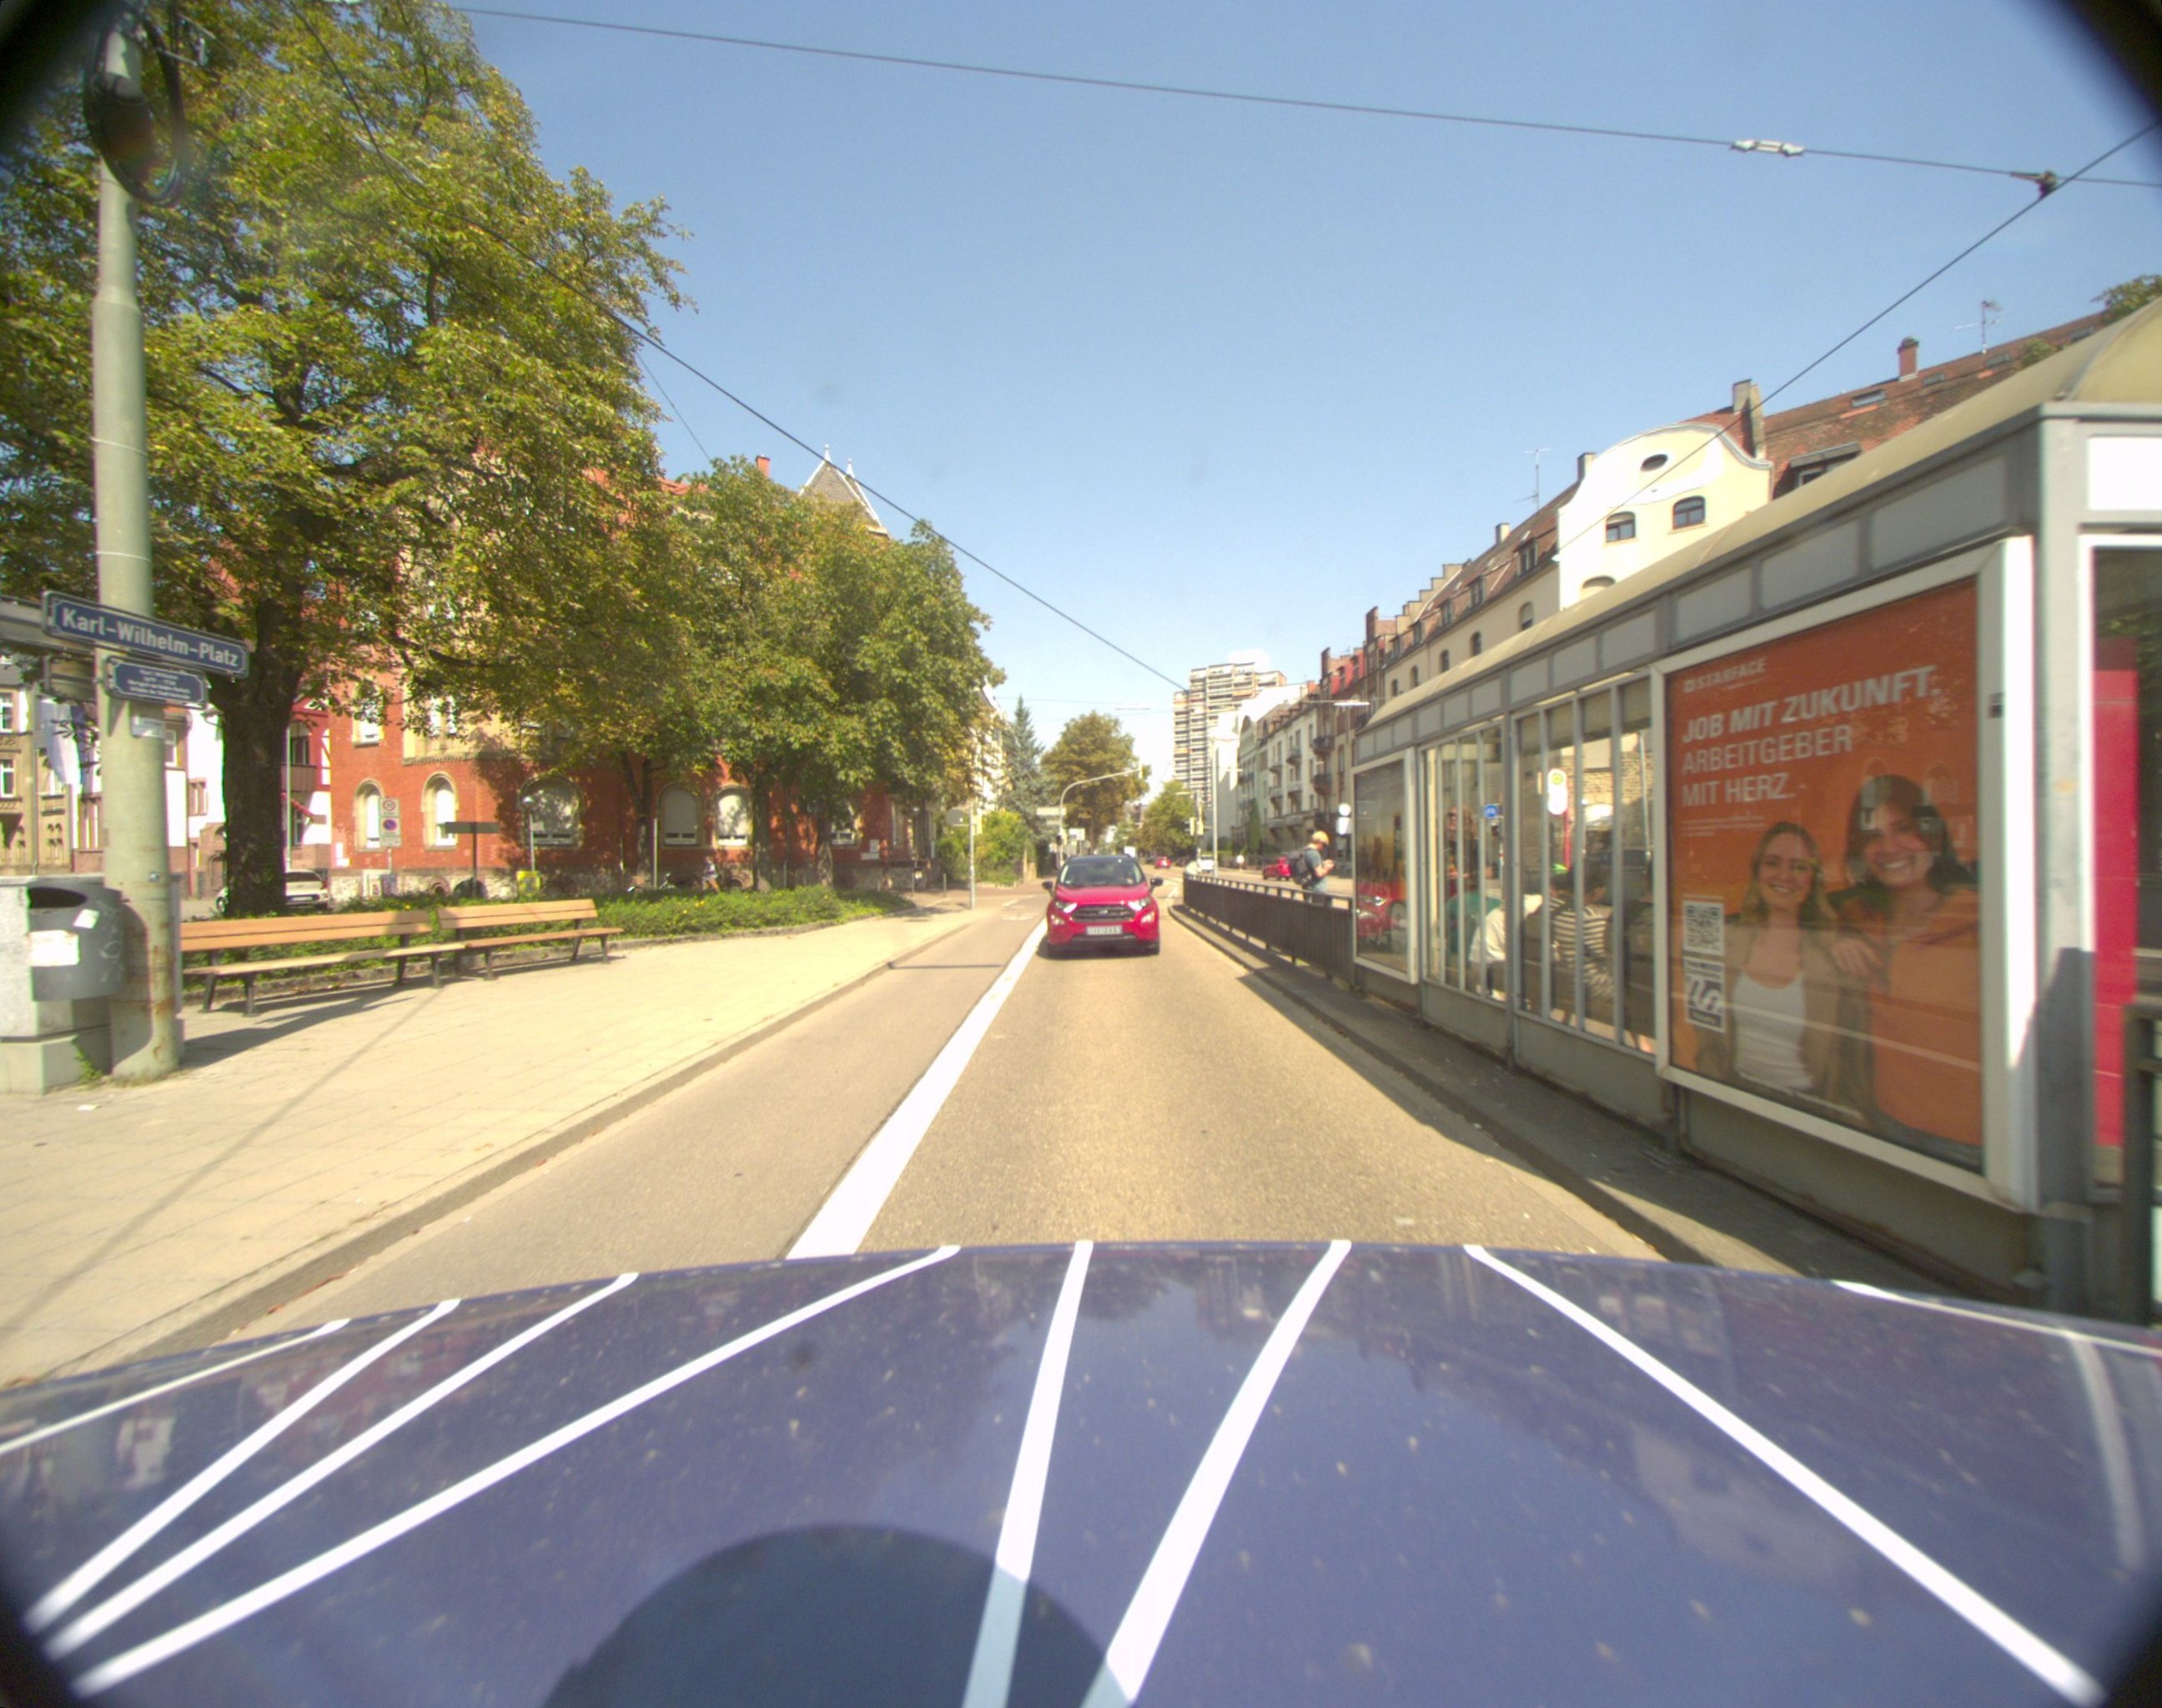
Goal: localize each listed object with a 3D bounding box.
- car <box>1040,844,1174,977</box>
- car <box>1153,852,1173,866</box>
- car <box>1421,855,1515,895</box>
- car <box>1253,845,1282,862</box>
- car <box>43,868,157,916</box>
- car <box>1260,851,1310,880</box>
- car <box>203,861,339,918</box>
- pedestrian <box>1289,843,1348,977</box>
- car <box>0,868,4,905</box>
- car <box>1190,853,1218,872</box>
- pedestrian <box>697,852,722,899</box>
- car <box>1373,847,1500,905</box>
[{"bbox_3d":[0.337,0.777,12.637,1.803,1.801,4.416,-1,0,-1],"label":"car"},{"bbox_3d":[10.316,0.641,95.835,1.998,1.716,4.631,0,0,1],"label":"car"},{"bbox_3d":[17.662,0.906,34.958,1.998,1.716,4.631,0,0,1],"label":"car"},{"bbox_3d":[19.865,-0.068,81.112,1.998,1.716,4.631,0,0,1],"label":"car"},{"bbox_3d":[-39.949,1.523,30.925,4.405,1.801,1.807,-1,0,24],"label":"car"},{"bbox_3d":[12.760,0.674,47.831,1.998,1.716,4.631,0,0,1],"label":"car"},{"bbox_3d":[-27.896,1.177,26.166,4.405,1.801,1.807,-1,0,24],"label":"car"},{"bbox_3d":[3.106,0.708,9.993,0.535,1.684,0.832,-1,0,4],"label":"pedestrian"},{"bbox_3d":[-54.614,1.608,36.904,4.405,1.801,1.807,-1,0,24],"label":"car"},{"bbox_3d":[11.278,0.780,69.953,1.998,1.716,4.631,0,0,1],"label":"car"},{"bbox_3d":[-14.940,0.850,30.558,0.677,1.874,0.920,-1,1,-40],"label":"pedestrian"},{"bbox_3d":[11.414,0.650,24.813,1.998,1.716,4.630,0,0,0],"label":"car"}]
